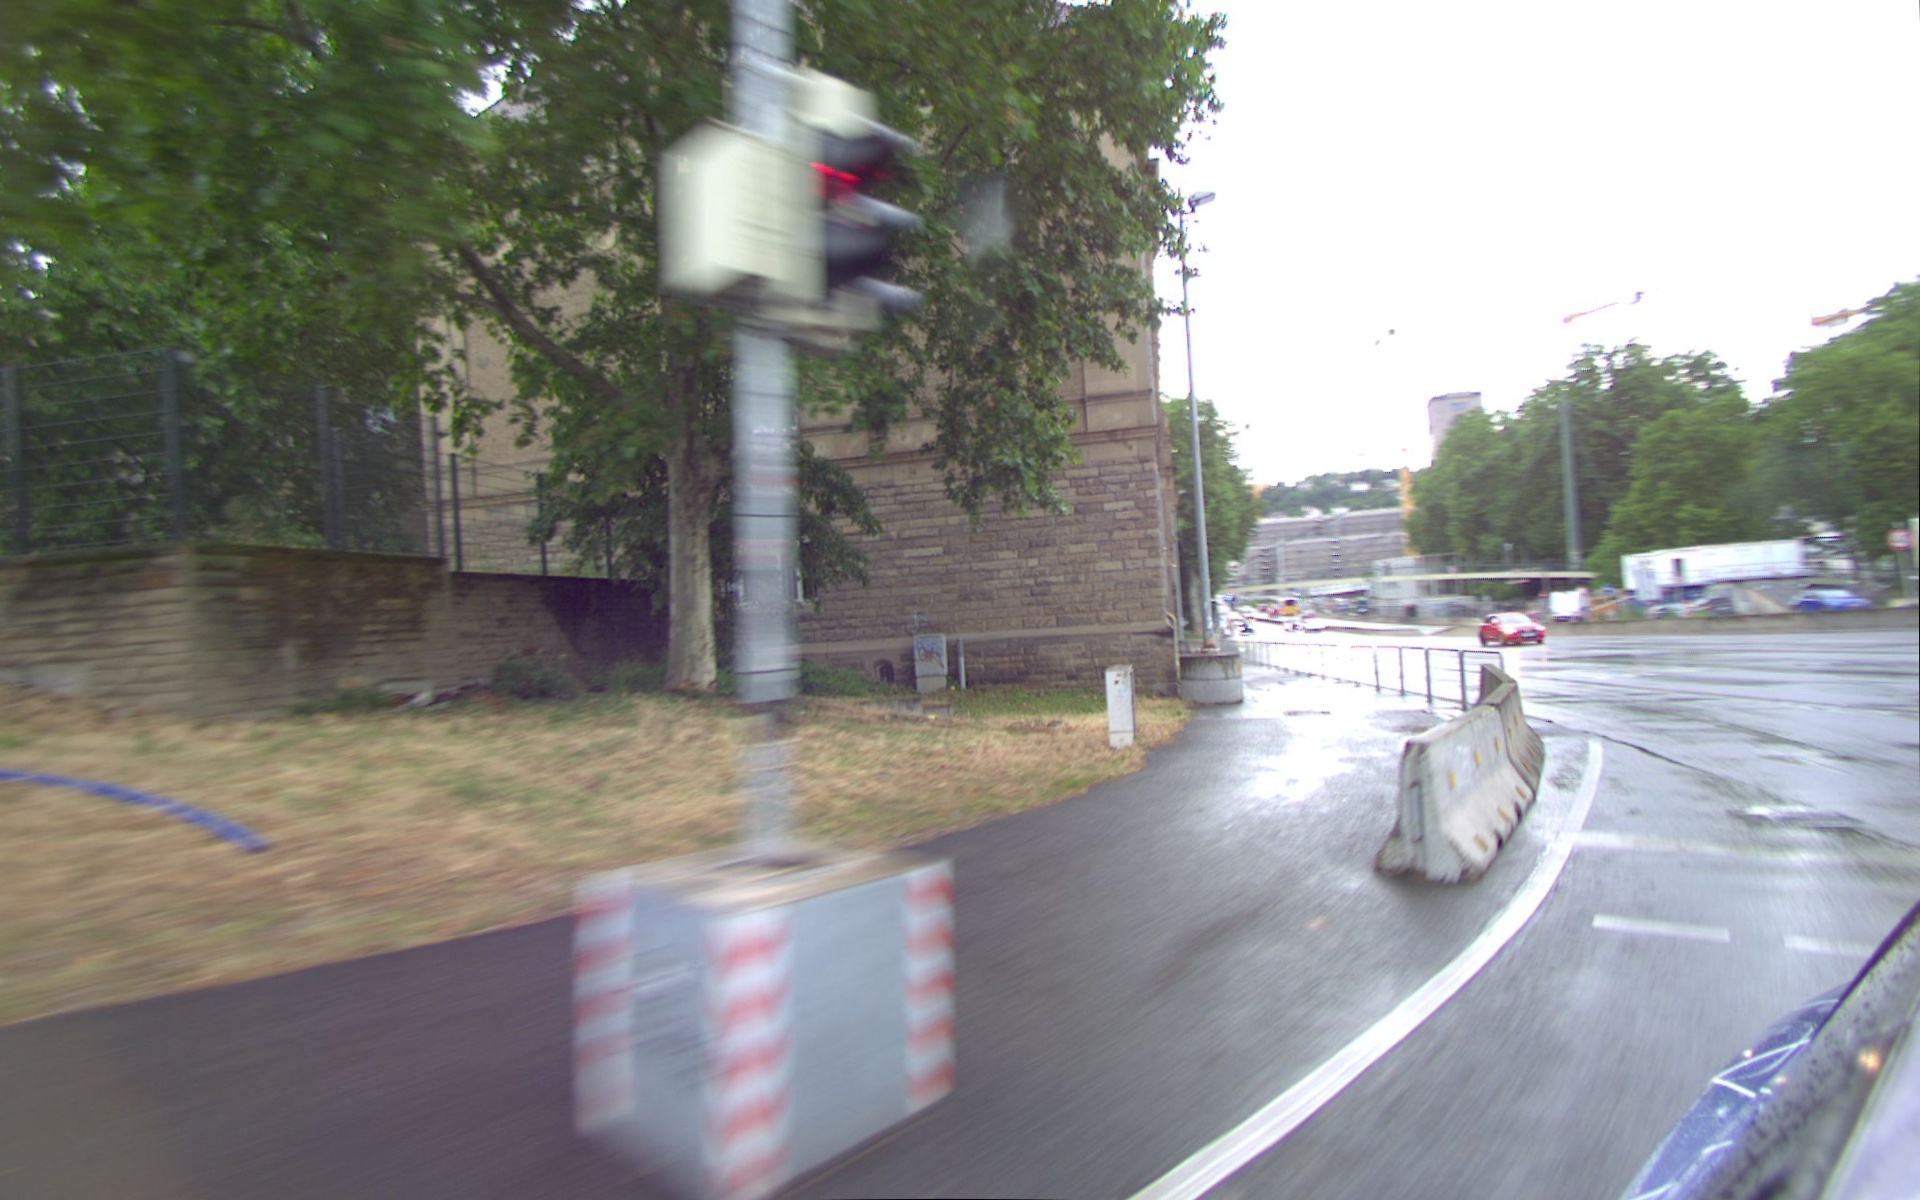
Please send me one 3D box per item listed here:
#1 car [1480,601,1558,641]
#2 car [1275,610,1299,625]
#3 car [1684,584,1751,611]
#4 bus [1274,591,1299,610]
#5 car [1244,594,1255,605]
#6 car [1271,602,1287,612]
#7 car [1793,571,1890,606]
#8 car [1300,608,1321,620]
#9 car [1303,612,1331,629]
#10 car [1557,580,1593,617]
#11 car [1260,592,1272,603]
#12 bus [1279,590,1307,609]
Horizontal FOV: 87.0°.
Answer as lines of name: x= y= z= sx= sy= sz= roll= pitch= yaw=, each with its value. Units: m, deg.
car: x=24.632 y=0.967 z=44.744 sx=1.663 sy=1.572 sz=3.987 roll=-5 pitch=-3 yaw=10
car: x=39.602 y=2.103 z=122.782 sx=1.956 sy=1.596 sz=4.427 roll=-4 pitch=-2 yaw=9
car: x=48.456 y=-0.136 z=64.858 sx=1.815 sy=1.509 sz=4.416 roll=-5 pitch=-2 yaw=16
bus: x=62.542 y=0.207 z=194.108 sx=3.189 sy=3.095 sz=8.923 roll=-6 pitch=-3 yaw=10
car: x=62.783 y=-0.146 z=219.259 sx=1.970 sy=2.040 sz=3.982 roll=-5 pitch=-2 yaw=14
car: x=56.125 y=1.294 z=178.004 sx=1.811 sy=1.596 sz=4.427 roll=-4 pitch=-2 yaw=9
car: x=45.124 y=-0.553 z=51.923 sx=1.815 sy=1.509 sz=4.418 roll=-5 pitch=-2 yaw=14
car: x=51.714 y=2.128 z=149.560 sx=1.809 sy=1.596 sz=4.431 roll=-4 pitch=-2 yaw=6
car: x=39.058 y=2.267 z=110.922 sx=1.956 sy=1.596 sz=4.427 roll=-4 pitch=-2 yaw=9
car: x=49.879 y=-0.143 z=82.020 sx=2.065 sy=2.773 sz=4.537 roll=-6 pitch=-3 yaw=34
car: x=64.734 y=-0.518 z=213.983 sx=1.970 sy=2.040 sz=3.982 roll=-5 pitch=-2 yaw=14
bus: x=61.025 y=-0.042 z=185.497 sx=3.220 sy=2.978 sz=8.925 roll=-6 pitch=-3 yaw=10
